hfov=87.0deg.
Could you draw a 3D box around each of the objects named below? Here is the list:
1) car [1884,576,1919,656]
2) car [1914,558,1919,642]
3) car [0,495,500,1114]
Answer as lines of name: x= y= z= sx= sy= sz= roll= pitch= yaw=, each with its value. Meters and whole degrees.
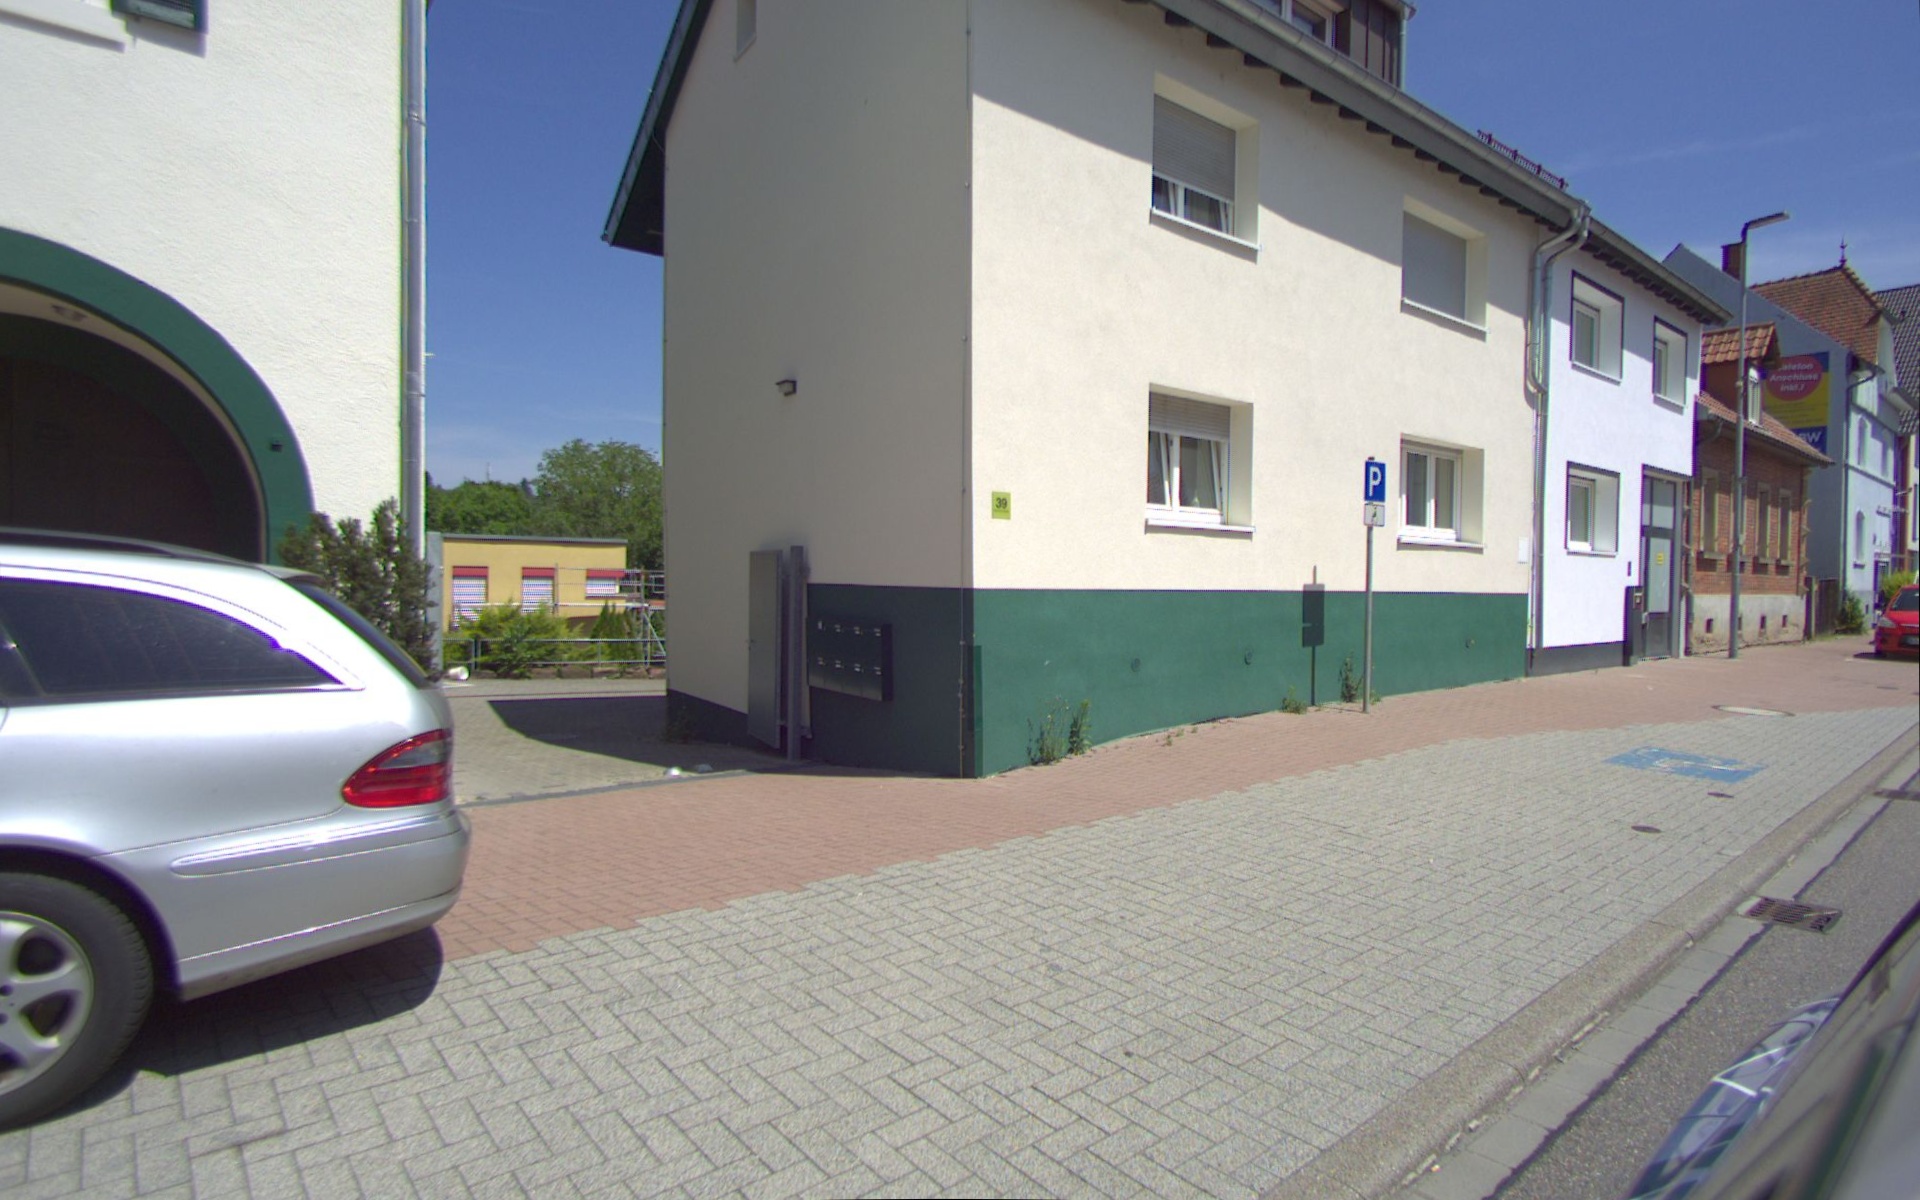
car: x=20.204 y=0.307 z=20.649 sx=3.613 sy=1.547 sz=1.613 roll=-1 pitch=2 yaw=-42
car: x=25.277 y=0.008 z=25.140 sx=4.704 sy=1.994 sz=1.949 roll=-1 pitch=2 yaw=-43
car: x=-3.885 y=0.540 z=2.514 sx=4.789 sy=1.482 sz=1.821 roll=-1 pitch=-3 yaw=-32
